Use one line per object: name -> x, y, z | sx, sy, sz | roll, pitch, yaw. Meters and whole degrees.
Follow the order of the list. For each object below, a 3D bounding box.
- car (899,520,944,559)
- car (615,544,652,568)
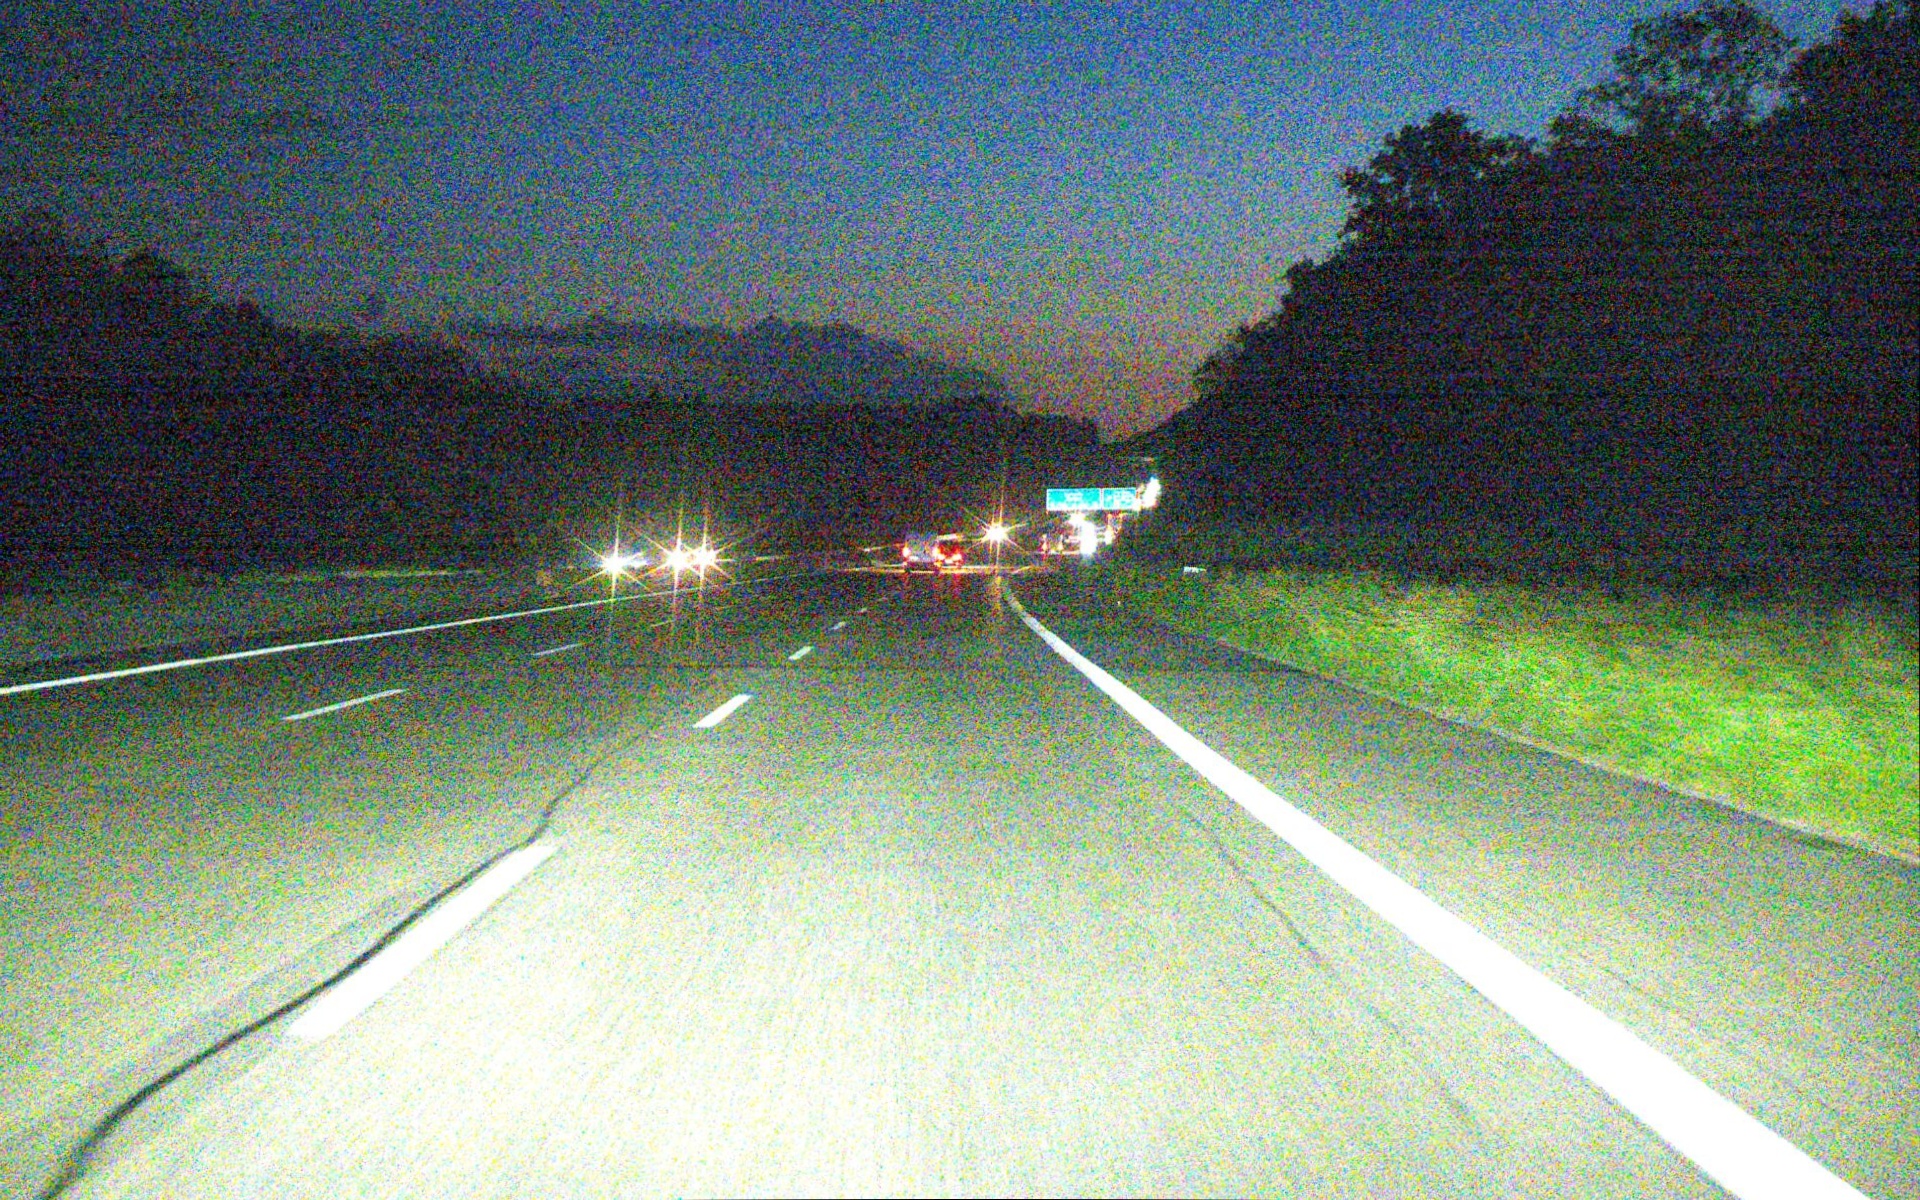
car -> -2.330, -3.650, 208.126 | 2.511, 2.306, 4.970 | 0, 1, 2
car -> -21.532, -2.897, 226.647 | 2.051, 1.593, 5.078 | 0, 1, -1
